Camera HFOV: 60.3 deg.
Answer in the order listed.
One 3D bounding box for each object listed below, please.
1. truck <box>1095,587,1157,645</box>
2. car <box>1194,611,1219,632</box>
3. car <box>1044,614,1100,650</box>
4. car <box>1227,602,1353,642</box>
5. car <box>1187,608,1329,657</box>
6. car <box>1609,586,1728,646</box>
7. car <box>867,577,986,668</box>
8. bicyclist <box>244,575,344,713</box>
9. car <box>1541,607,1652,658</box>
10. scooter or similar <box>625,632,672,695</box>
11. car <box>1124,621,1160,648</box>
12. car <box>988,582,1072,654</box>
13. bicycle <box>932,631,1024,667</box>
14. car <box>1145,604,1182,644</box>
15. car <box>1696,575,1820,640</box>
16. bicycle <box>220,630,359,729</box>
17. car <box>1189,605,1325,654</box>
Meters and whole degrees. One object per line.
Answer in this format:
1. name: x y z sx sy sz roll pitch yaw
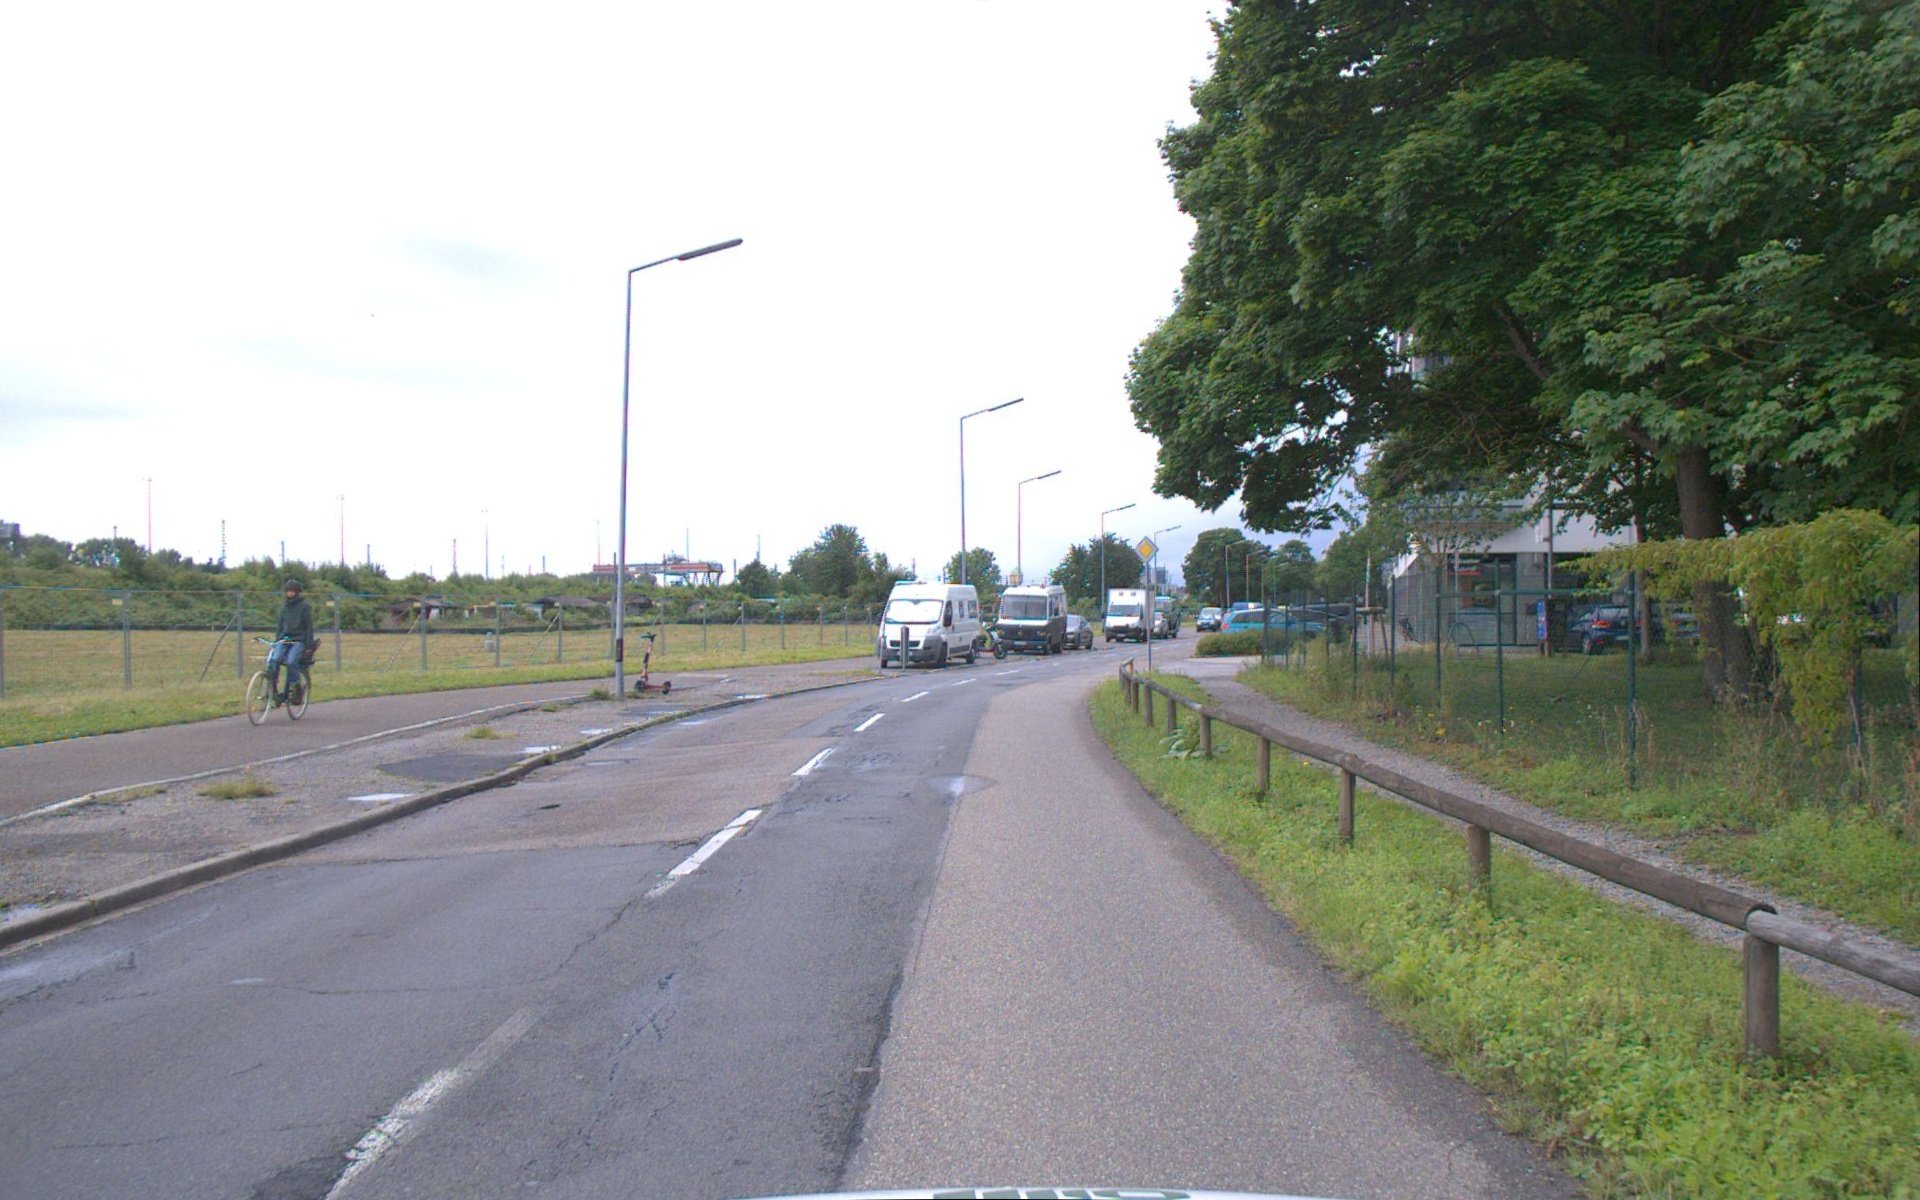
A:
1. truck: 9.502 0.872 93.999 2.409 3.114 8.169 -1 0 13
2. car: 20.490 1.799 137.593 1.614 1.692 3.578 0 0 16
3. car: 5.022 1.415 73.964 1.741 1.531 4.003 -1 0 15
4. car: 12.902 0.845 64.656 4.757 1.527 1.844 0 0 13
5. car: 10.346 1.115 57.417 4.757 1.644 1.844 0 0 13
6. car: 21.338 0.478 49.965 1.816 1.729 3.955 -1 0 -1
7. car: -0.924 0.650 50.893 2.240 2.600 6.416 -1 0 12
8. bicyclist: -9.231 0.594 22.972 0.810 1.853 1.330 0 0 1
9. car: 19.134 0.960 49.884 1.786 1.456 3.771 -1 0 -1
10. scooter or similar: -6.275 1.270 33.372 0.596 1.203 1.701 2 -1 0
11. car: 11.428 2.155 103.568 1.717 1.552 4.003 -1 0 13
12. car: 2.931 0.693 67.243 2.251 2.782 6.097 0 0 14
13. bicycle: 0.648 1.718 58.811 3.053 1.220 1.366 0 0 13
14. car: 13.671 1.569 110.955 1.962 2.619 4.790 -1 0 13
15. car: 23.919 0.224 49.747 1.760 1.862 3.999 -1 0 -1
16. bicycle: -9.227 1.065 22.895 0.802 1.225 2.558 0 0 2
17. car: 10.791 1.052 59.998 4.757 1.692 1.844 0 0 13
